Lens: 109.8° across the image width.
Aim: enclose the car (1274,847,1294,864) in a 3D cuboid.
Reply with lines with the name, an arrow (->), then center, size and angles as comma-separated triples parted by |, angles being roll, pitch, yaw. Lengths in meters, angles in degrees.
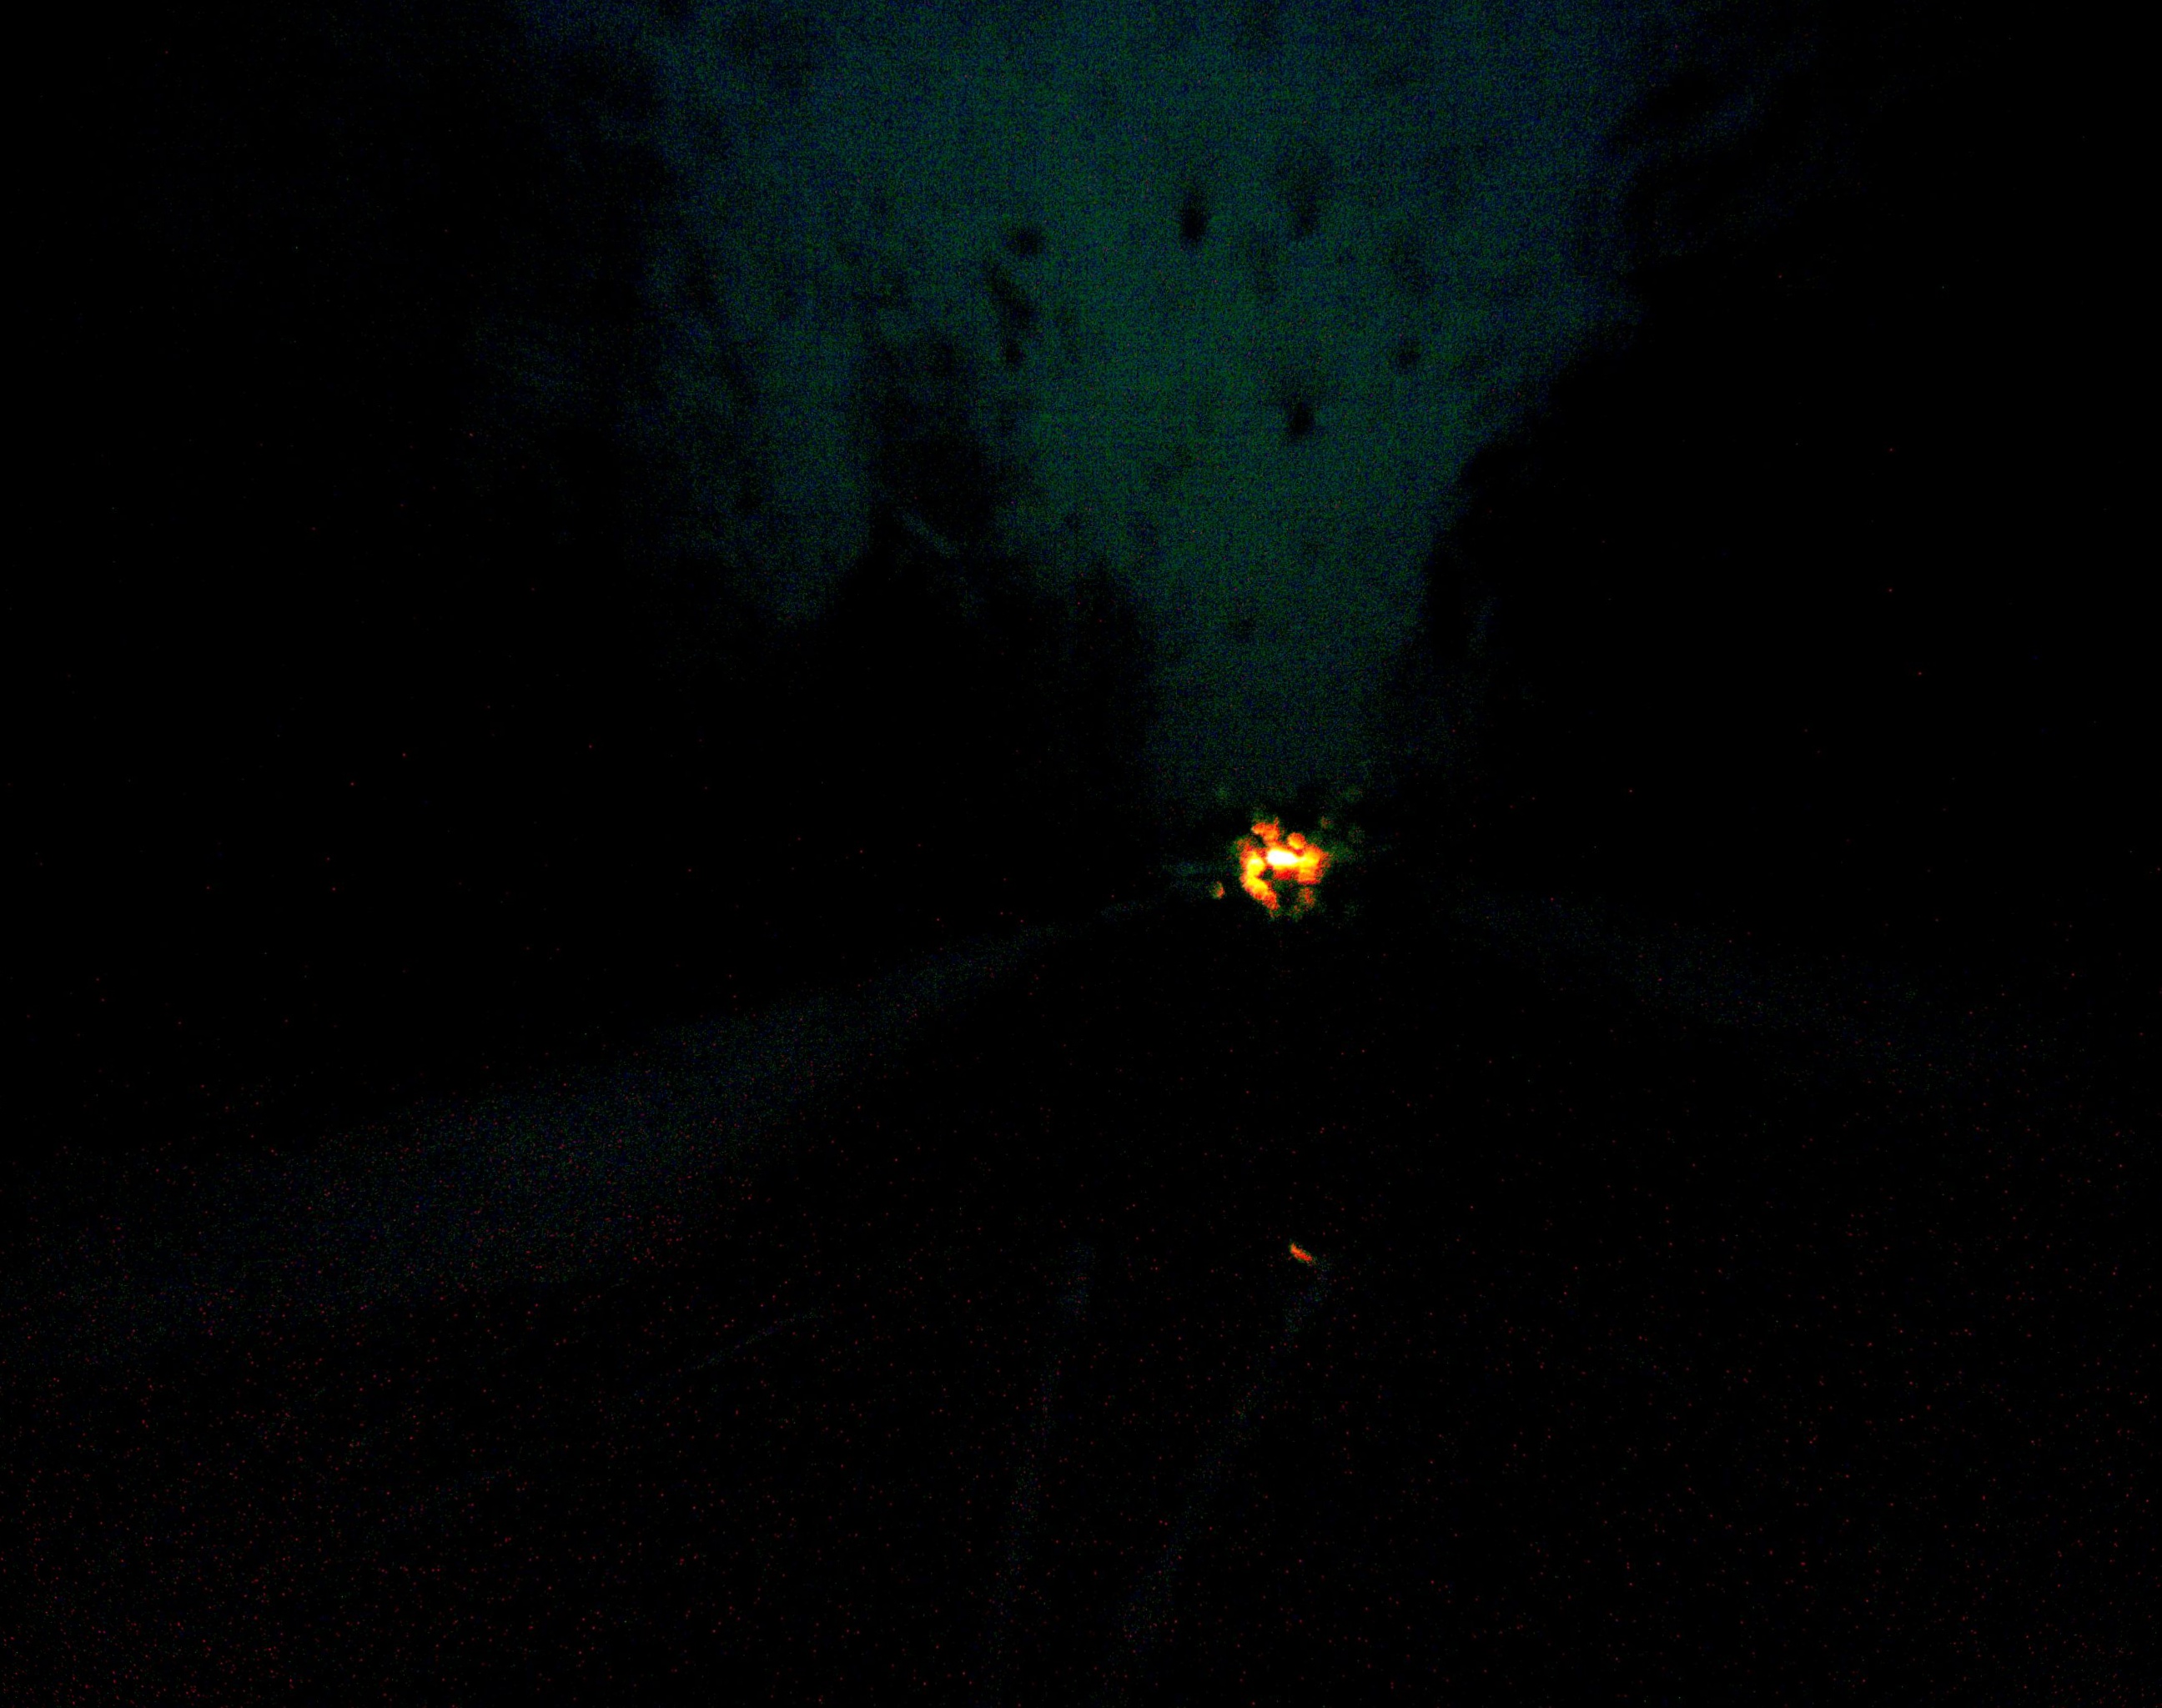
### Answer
car -> 28.524, 0.196, 106.932 | 1.997, 2.002, 4.001 | -6, 1, 8
